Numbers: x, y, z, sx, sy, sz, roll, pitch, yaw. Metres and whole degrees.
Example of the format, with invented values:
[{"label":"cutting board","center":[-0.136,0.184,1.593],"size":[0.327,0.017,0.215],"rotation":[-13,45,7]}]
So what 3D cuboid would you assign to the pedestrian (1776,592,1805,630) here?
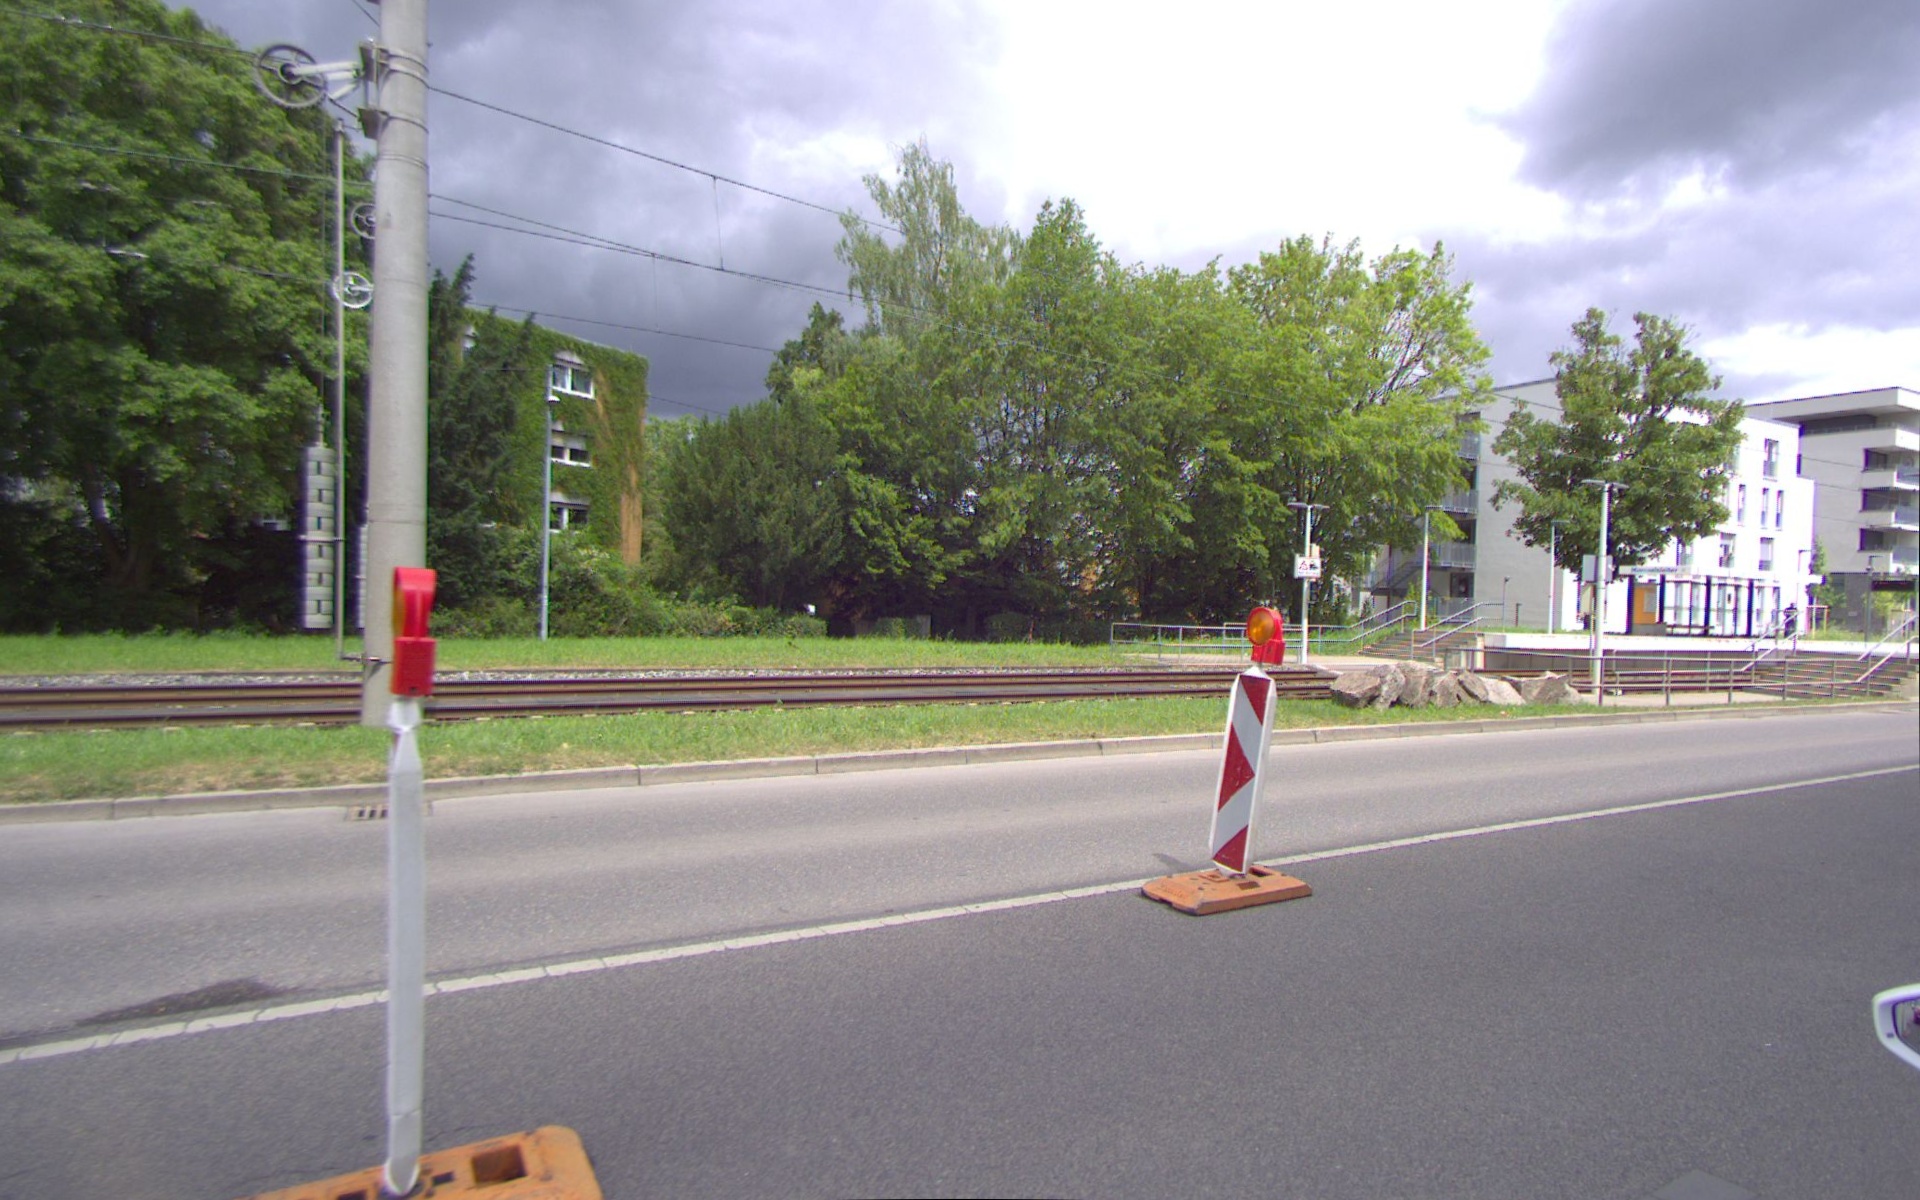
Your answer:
[{"label":"pedestrian","center":[35.318,0.470,42.711],"size":[0.539,1.551,0.739],"rotation":[2,0,-25]}]
